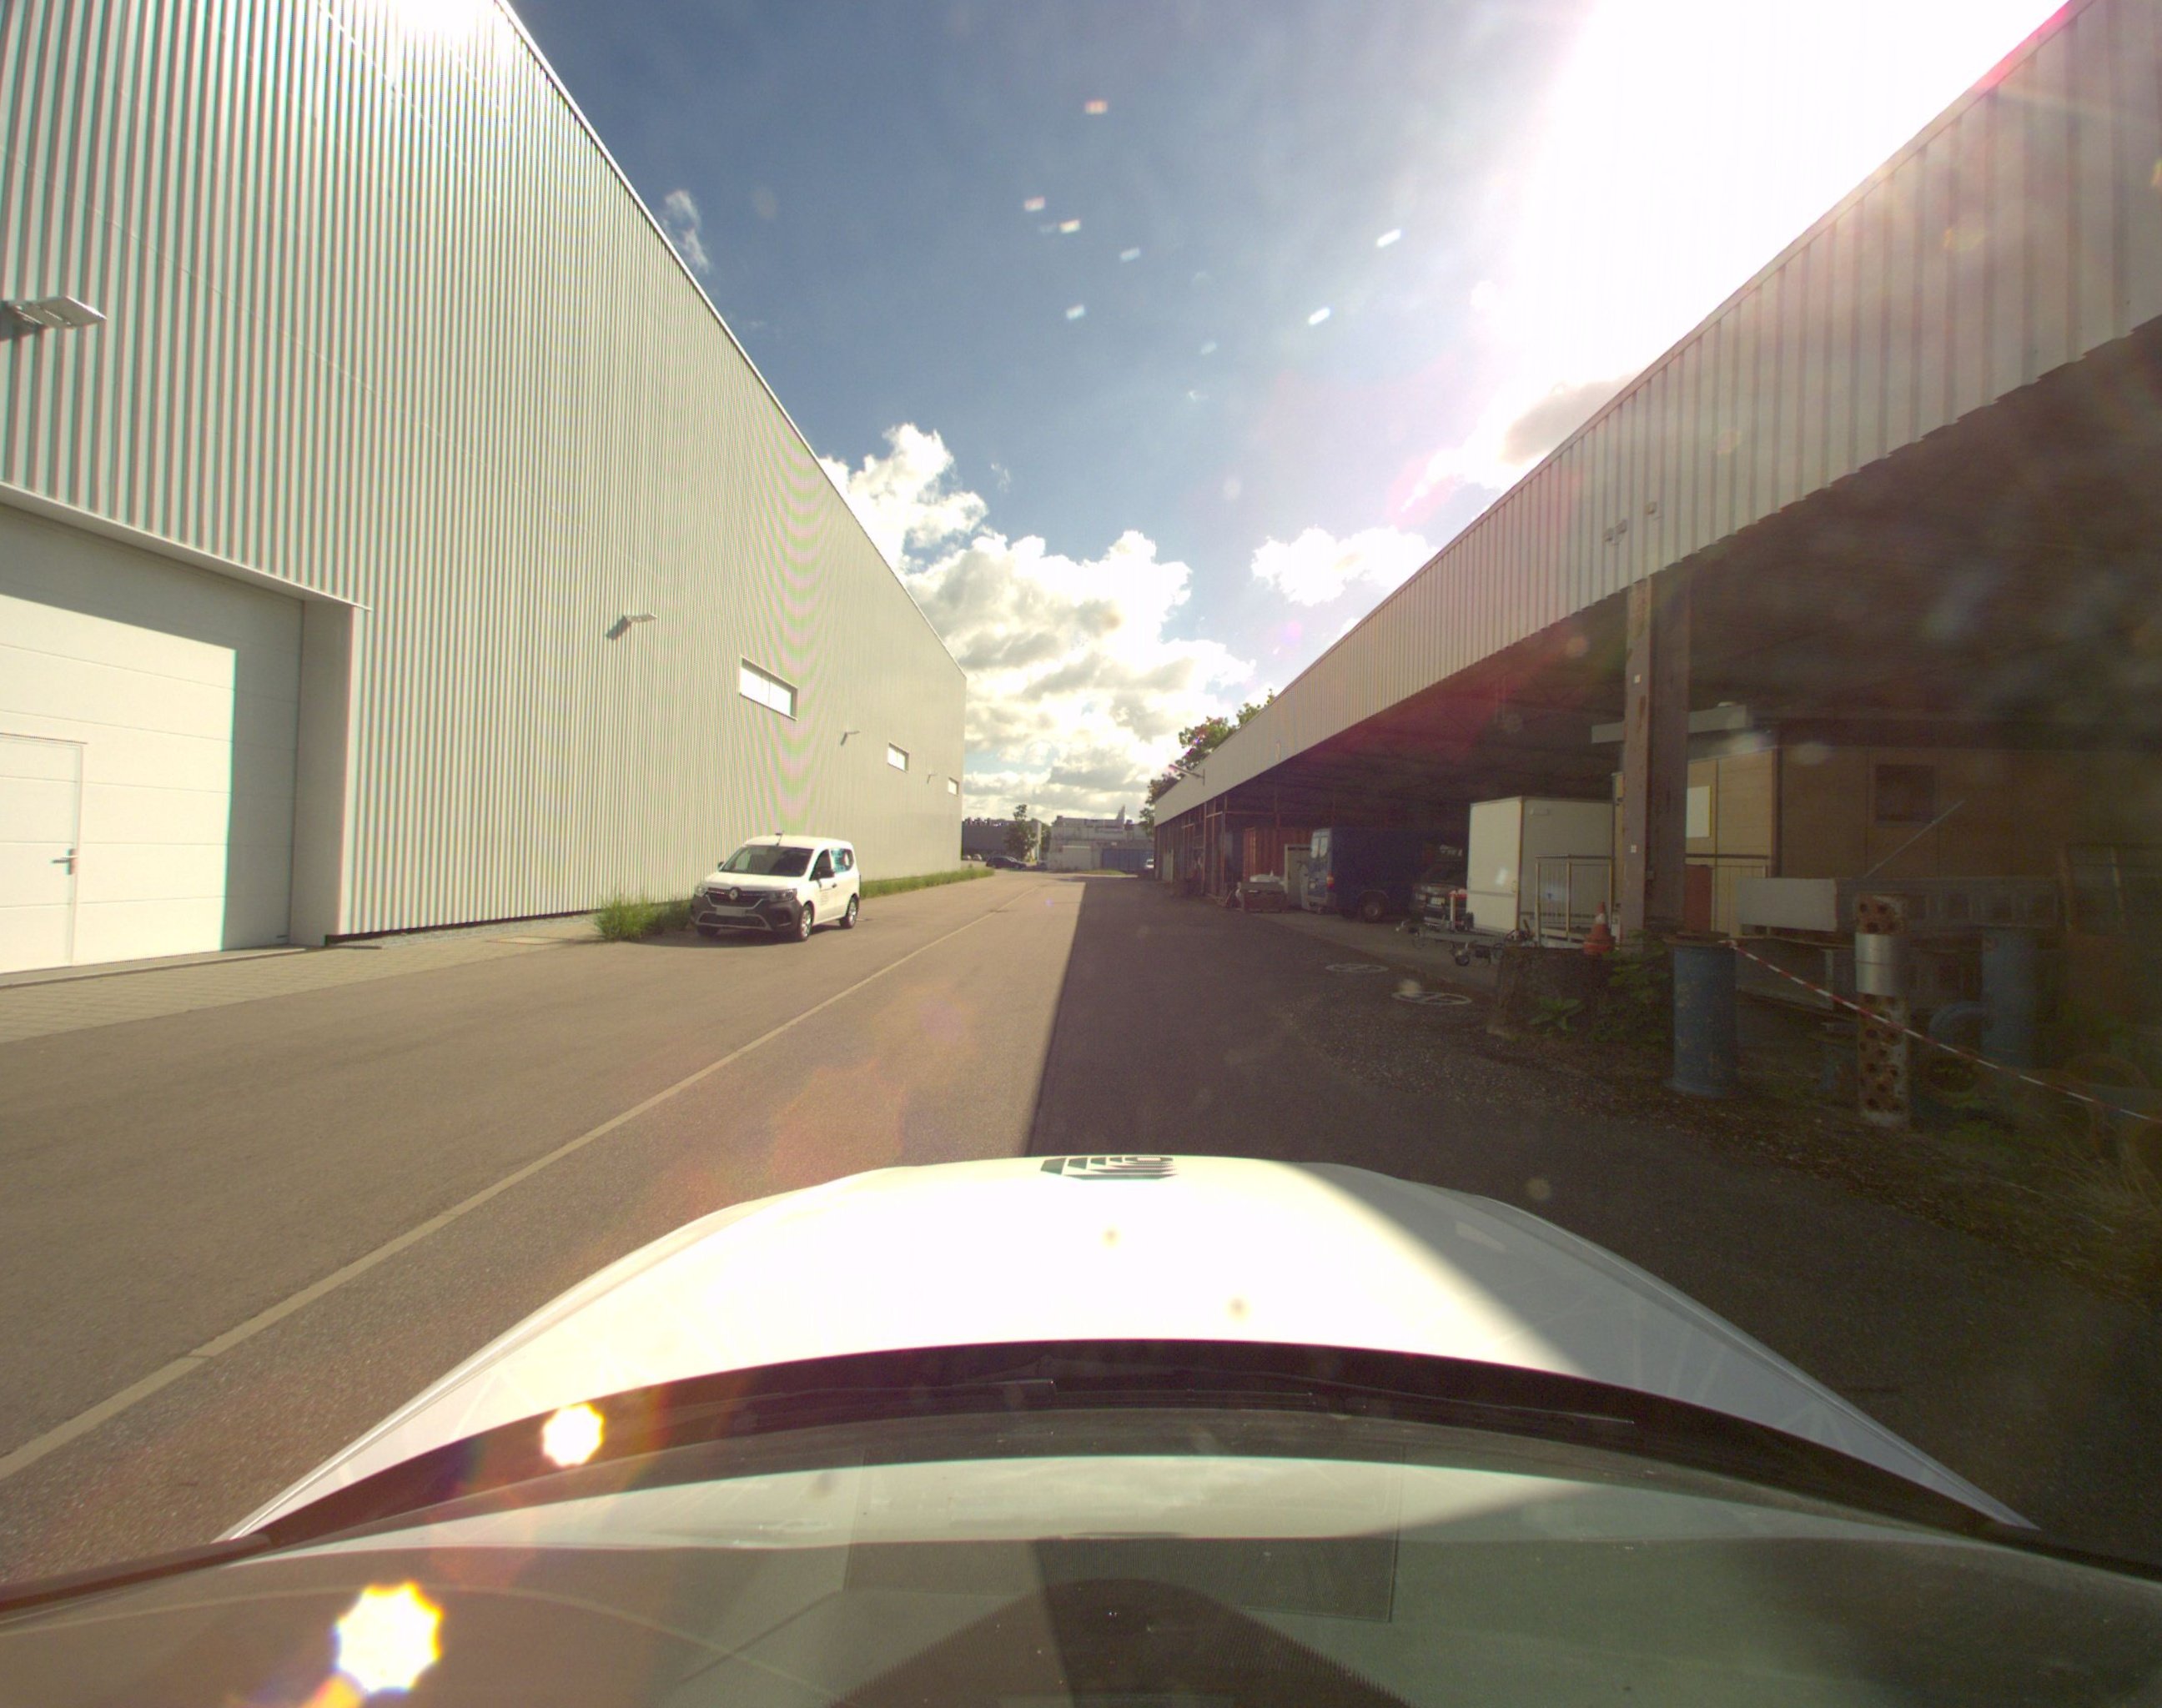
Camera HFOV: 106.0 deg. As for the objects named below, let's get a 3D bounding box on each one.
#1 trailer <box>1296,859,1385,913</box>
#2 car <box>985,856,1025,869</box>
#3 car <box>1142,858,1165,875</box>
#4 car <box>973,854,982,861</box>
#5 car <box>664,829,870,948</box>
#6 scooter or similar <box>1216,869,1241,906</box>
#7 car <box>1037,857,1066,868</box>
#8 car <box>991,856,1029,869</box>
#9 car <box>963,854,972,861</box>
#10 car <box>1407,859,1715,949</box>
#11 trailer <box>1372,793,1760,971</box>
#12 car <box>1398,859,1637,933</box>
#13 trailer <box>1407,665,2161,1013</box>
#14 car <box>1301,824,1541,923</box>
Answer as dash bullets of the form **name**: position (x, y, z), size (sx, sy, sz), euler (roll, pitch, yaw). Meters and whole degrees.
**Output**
- **trailer**: position (7.302, 0.884, 23.052), size (2.085, 1.462, 1.643), euler (1, -1, 3)
- **car**: position (-9.013, 1.034, 97.343), size (4.514, 1.443, 1.987), euler (1, -2, 0)
- **car**: position (7.526, 1.319, 84.856), size (1.974, 1.593, 4.340), euler (2, 1, 0)
- **car**: position (-24.677, 0.874, 194.255), size (1.872, 1.537, 4.032), euler (0, -1, -2)
- **car**: position (-5.562, 0.554, 15.192), size (1.922, 1.790, 4.598), euler (3, 0, 0)
- **scooter or similar**: position (4.735, 1.062, 26.210), size (0.518, 1.134, 1.592), euler (1, -1, 0)
- **car**: position (-4.509, 1.259, 125.116), size (4.265, 1.569, 1.987), euler (1, -2, 0)
- **car**: position (-8.752, 1.057, 100.603), size (4.514, 1.443, 1.903), euler (1, -2, 0)
- **car**: position (-26.999, 0.880, 194.018), size (1.872, 1.537, 4.032), euler (0, -1, -2)
- **car**: position (8.212, 0.811, 14.198), size (4.334, 1.433, 1.863), euler (0, -1, -3)
- **trailer**: position (6.695, 0.373, 11.597), size (4.526, 2.335, 1.689), euler (0, 0, 0)
- **car**: position (9.121, 0.853, 17.261), size (4.094, 1.454, 1.850), euler (0, -1, 0)
- **trailer**: position (9.302, -0.145, 9.095), size (10.257, 3.295, 2.675), euler (0, 0, 0)
- **car**: position (8.399, 0.475, 20.460), size (5.200, 2.297, 2.083), euler (1, -1, -1)
